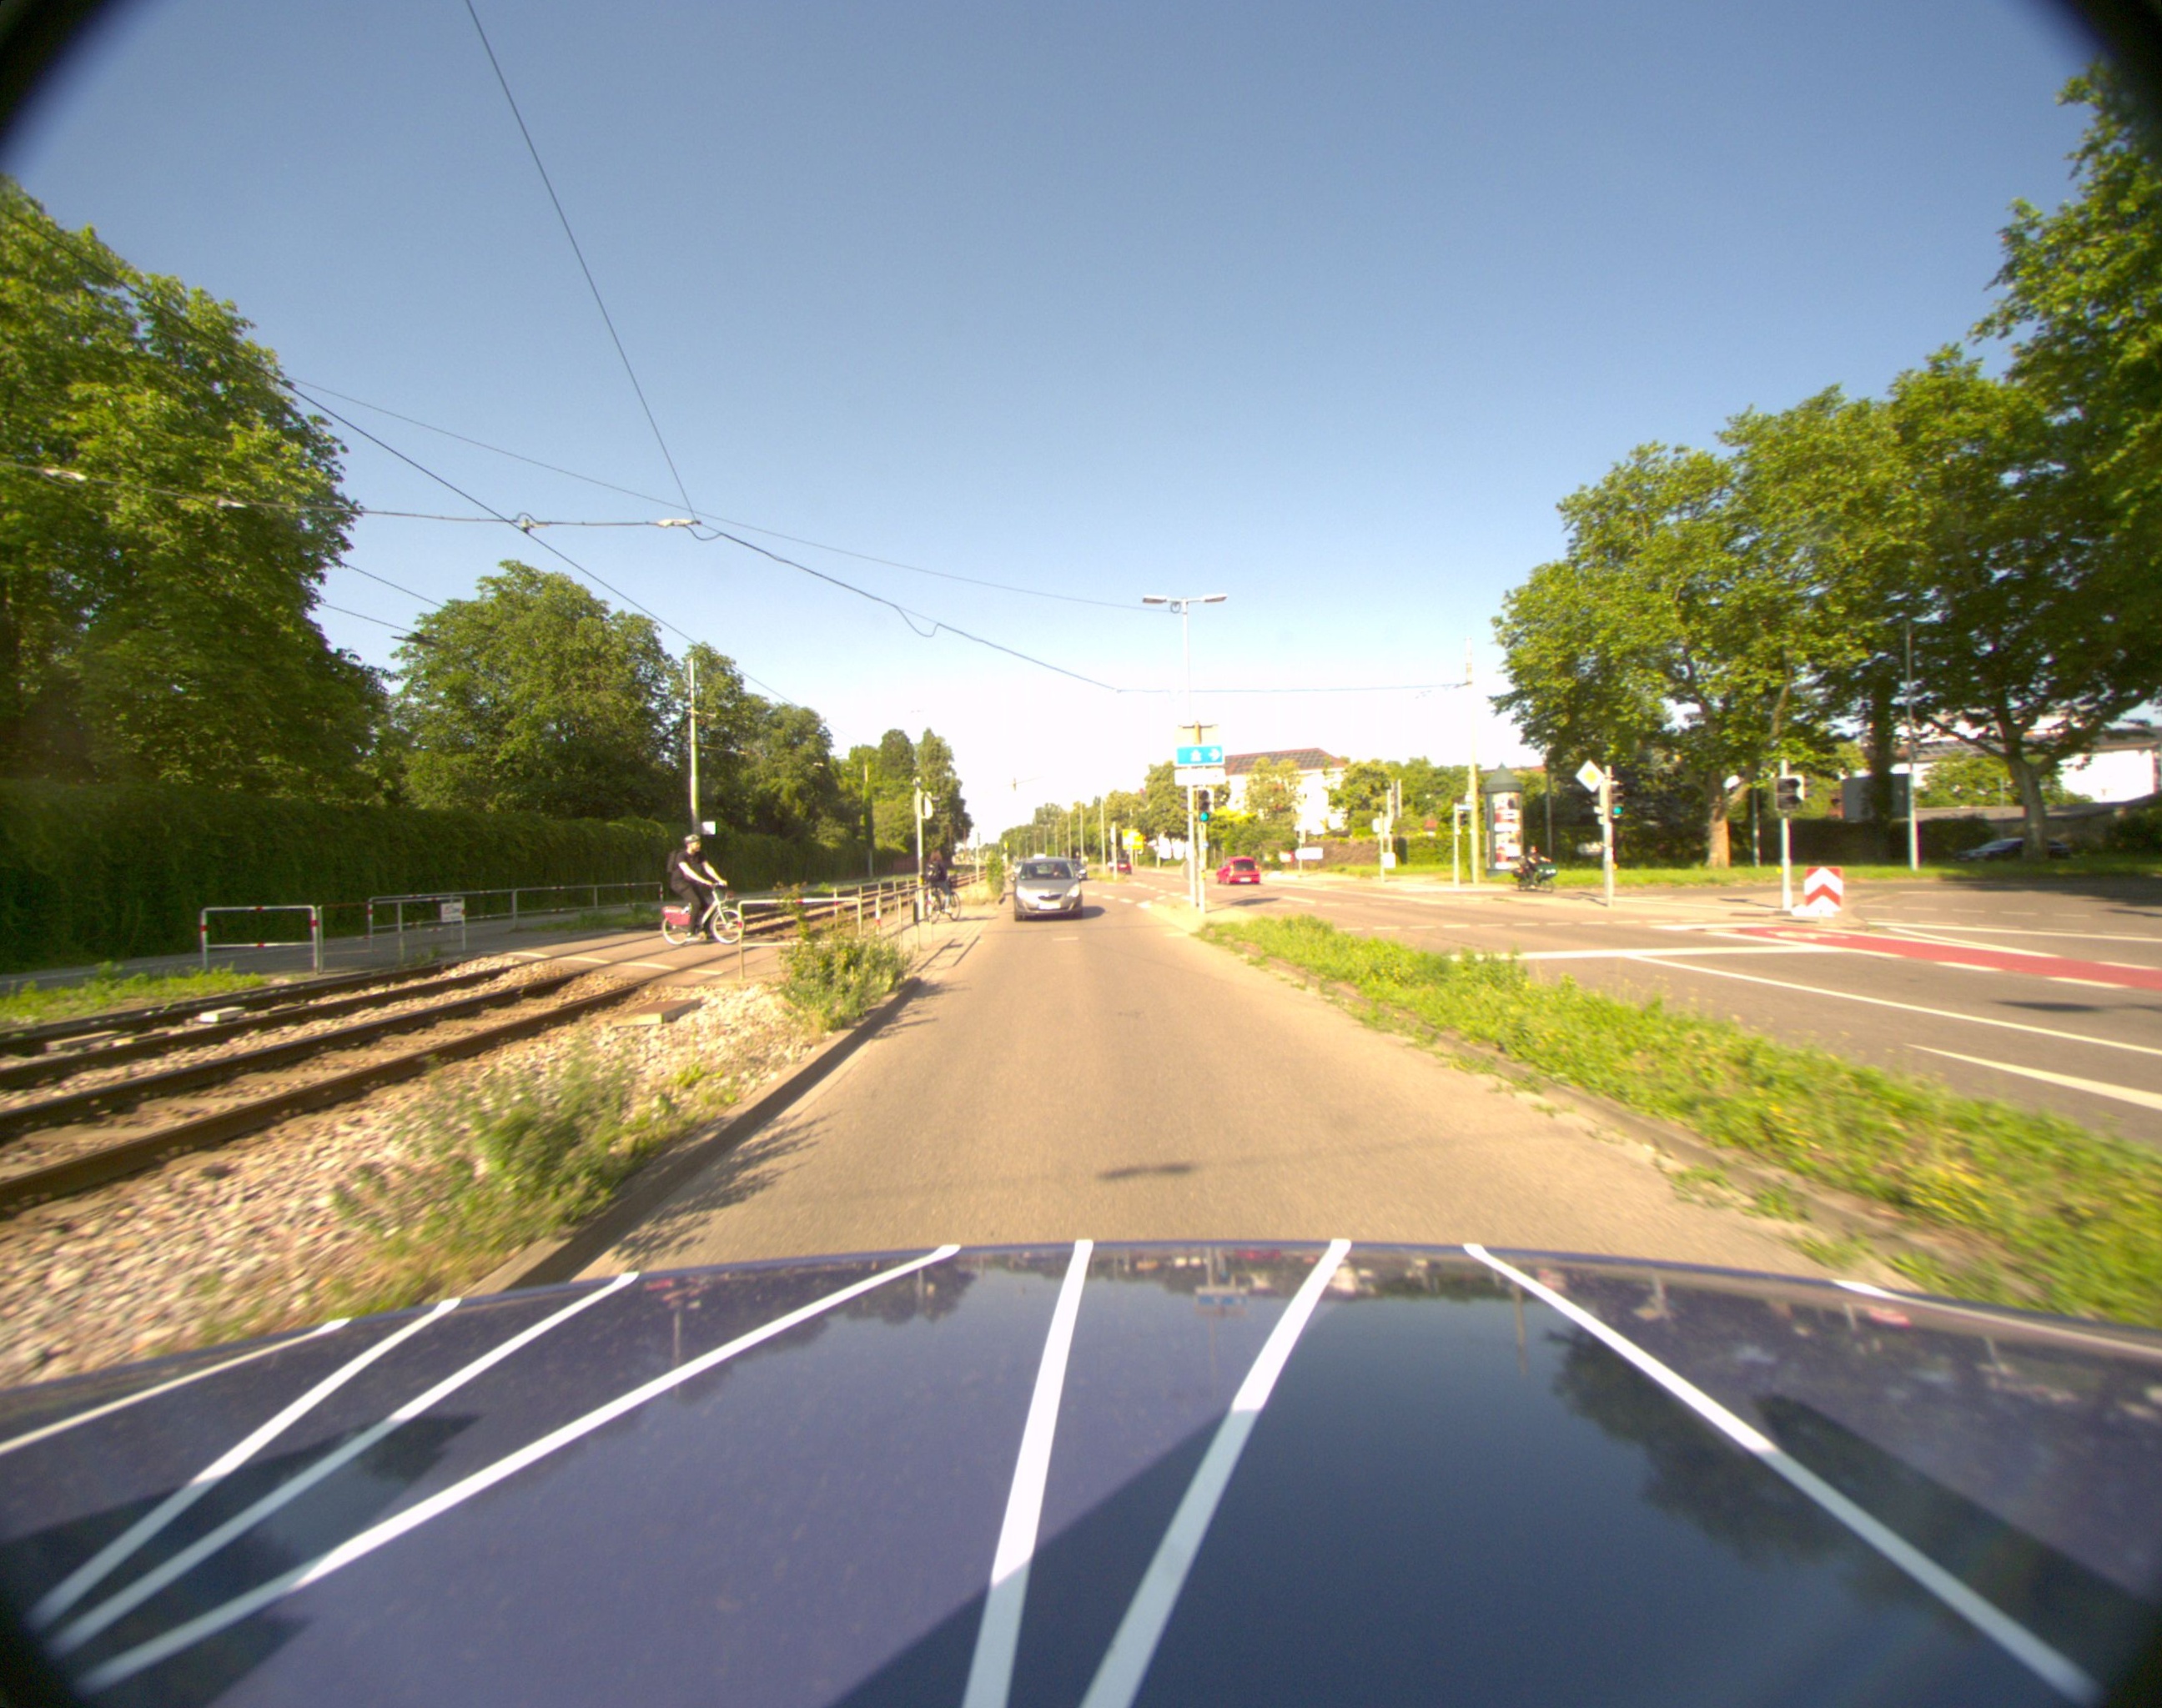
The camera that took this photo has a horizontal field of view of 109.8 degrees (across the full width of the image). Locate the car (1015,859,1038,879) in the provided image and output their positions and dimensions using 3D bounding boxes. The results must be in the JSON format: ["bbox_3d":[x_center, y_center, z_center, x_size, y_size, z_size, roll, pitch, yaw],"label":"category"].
[{"bbox_3d":[-4.518,1.223,62.356,1.711,1.513,3.831,-3,0,-6],"label":"car"}]

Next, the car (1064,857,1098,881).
[{"bbox_3d":[-0.073,0.995,52.216,1.765,1.477,4.642,-3,0,-7],"label":"car"}]

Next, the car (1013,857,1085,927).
[{"bbox_3d":[-0.852,0.915,20.090,1.650,1.581,3.832,-3,0,-3],"label":"car"}]

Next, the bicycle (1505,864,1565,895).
[{"bbox_3d":[16.504,0.901,27.695,0.663,1.043,2.580,-1,0,1],"label":"bicycle"}]

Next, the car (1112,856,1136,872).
[{"bbox_3d":[3.802,0.866,67.981,1.657,1.387,4.132,-1,0,-4],"label":"car"}]

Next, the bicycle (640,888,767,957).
[{"bbox_3d":[-6.674,1.179,13.452,1.923,1.108,0.949,-1,0,22],"label":"bicycle"}]

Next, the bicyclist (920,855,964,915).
[{"bbox_3d":[-3.341,0.730,18.350,0.644,1.407,1.013,-1,0,14],"label":"bicyclist"}]

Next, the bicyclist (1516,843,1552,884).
[{"bbox_3d":[16.492,0.334,27.681,0.663,1.444,1.051,-1,0,1],"label":"bicyclist"}]

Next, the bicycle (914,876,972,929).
[{"bbox_3d":[-3.328,1.142,18.490,0.644,1.147,1.939,2,1,14],"label":"bicycle"}]

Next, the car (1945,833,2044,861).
[{"bbox_3d":[50.299,-0.378,41.887,3.421,1.300,1.508,-3,1,4],"label":"car"}]

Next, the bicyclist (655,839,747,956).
[{"bbox_3d":[-6.715,0.743,13.460,1.034,1.982,0.949,-1,1,22],"label":"bicyclist"}]

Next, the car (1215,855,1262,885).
[{"bbox_3d":[8.038,0.802,39.017,1.578,1.408,3.333,-1,0,-2],"label":"car"}]
